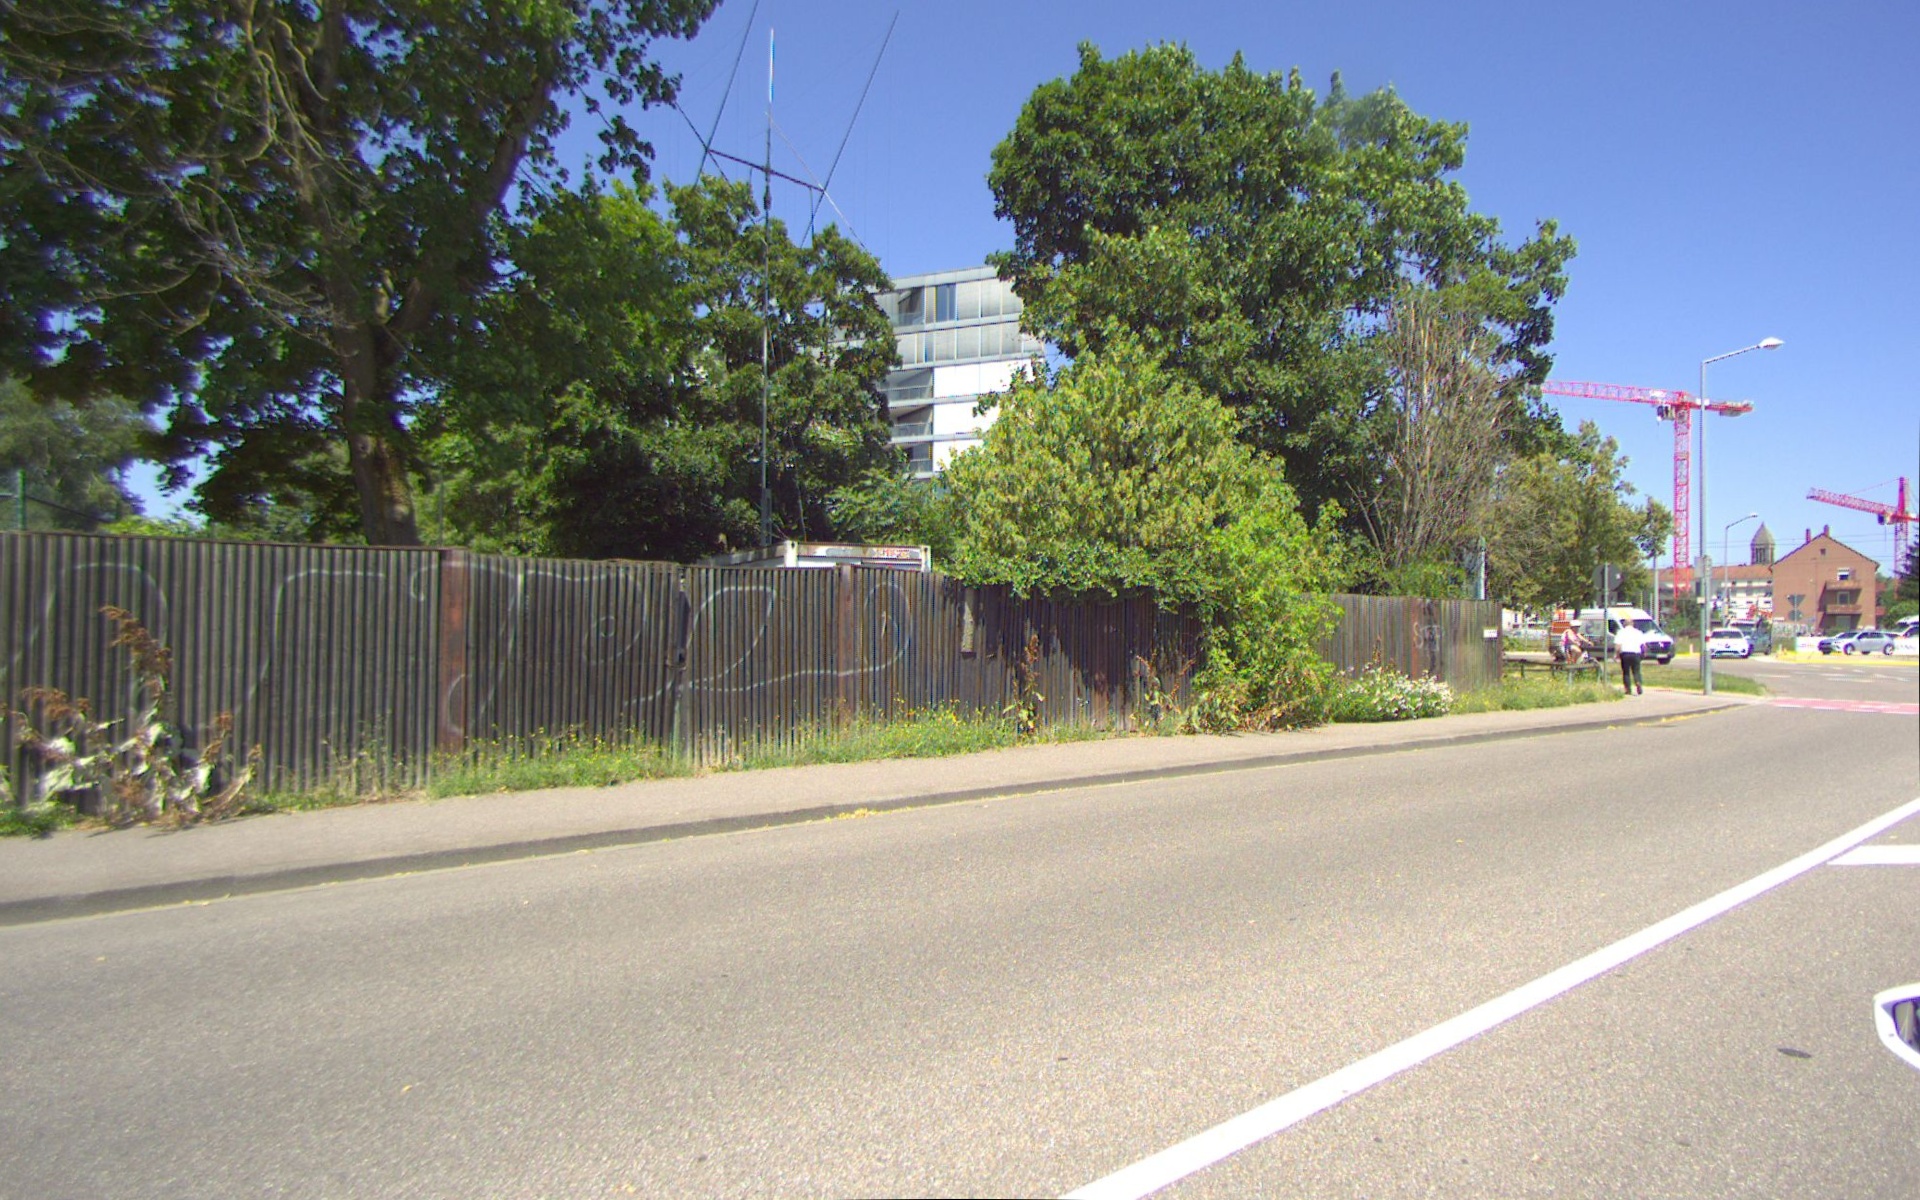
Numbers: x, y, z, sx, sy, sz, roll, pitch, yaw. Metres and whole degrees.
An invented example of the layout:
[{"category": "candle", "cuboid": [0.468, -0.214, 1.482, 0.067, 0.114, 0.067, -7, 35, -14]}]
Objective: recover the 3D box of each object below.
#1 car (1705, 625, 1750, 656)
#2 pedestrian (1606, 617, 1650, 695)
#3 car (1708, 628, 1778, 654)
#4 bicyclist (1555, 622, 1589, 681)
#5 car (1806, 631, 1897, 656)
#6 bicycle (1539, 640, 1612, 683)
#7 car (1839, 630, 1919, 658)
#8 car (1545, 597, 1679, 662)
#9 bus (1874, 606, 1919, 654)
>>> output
[{"category": "car", "cuboid": [40.312, 2.107, 52.820, 1.752, 1.547, 3.860, -1, -2, 35]}, {"category": "pedestrian", "cuboid": [16.011, 1.316, 24.083, 0.625, 1.810, 0.969, 2, 0, 20]}, {"category": "car", "cuboid": [44.887, 2.348, 57.596, 4.282, 1.390, 1.737, 2, 0, -31]}, {"category": "bicyclist", "cuboid": [18.684, 1.555, 30.672, 0.582, 1.775, 0.671, 1, -2, -12]}, {"category": "car", "cuboid": [55.268, 2.687, 62.326, 4.189, 1.421, 1.732, 2, 0, -3]}, {"category": "bicycle", "cuboid": [18.696, 1.848, 30.577, 0.623, 1.237, 2.093, 1, -1, -13]}, {"category": "car", "cuboid": [63.275, 2.992, 68.718, 4.365, 1.759, 1.845, 2, 0, 30]}, {"category": "car", "cuboid": [31.565, 1.349, 48.994, 1.961, 2.865, 6.883, 2, 0, -1]}, {"category": "bus", "cuboid": [68.587, 2.161, 69.718, 7.137, 3.215, 2.260, 2, 0, 23]}]
